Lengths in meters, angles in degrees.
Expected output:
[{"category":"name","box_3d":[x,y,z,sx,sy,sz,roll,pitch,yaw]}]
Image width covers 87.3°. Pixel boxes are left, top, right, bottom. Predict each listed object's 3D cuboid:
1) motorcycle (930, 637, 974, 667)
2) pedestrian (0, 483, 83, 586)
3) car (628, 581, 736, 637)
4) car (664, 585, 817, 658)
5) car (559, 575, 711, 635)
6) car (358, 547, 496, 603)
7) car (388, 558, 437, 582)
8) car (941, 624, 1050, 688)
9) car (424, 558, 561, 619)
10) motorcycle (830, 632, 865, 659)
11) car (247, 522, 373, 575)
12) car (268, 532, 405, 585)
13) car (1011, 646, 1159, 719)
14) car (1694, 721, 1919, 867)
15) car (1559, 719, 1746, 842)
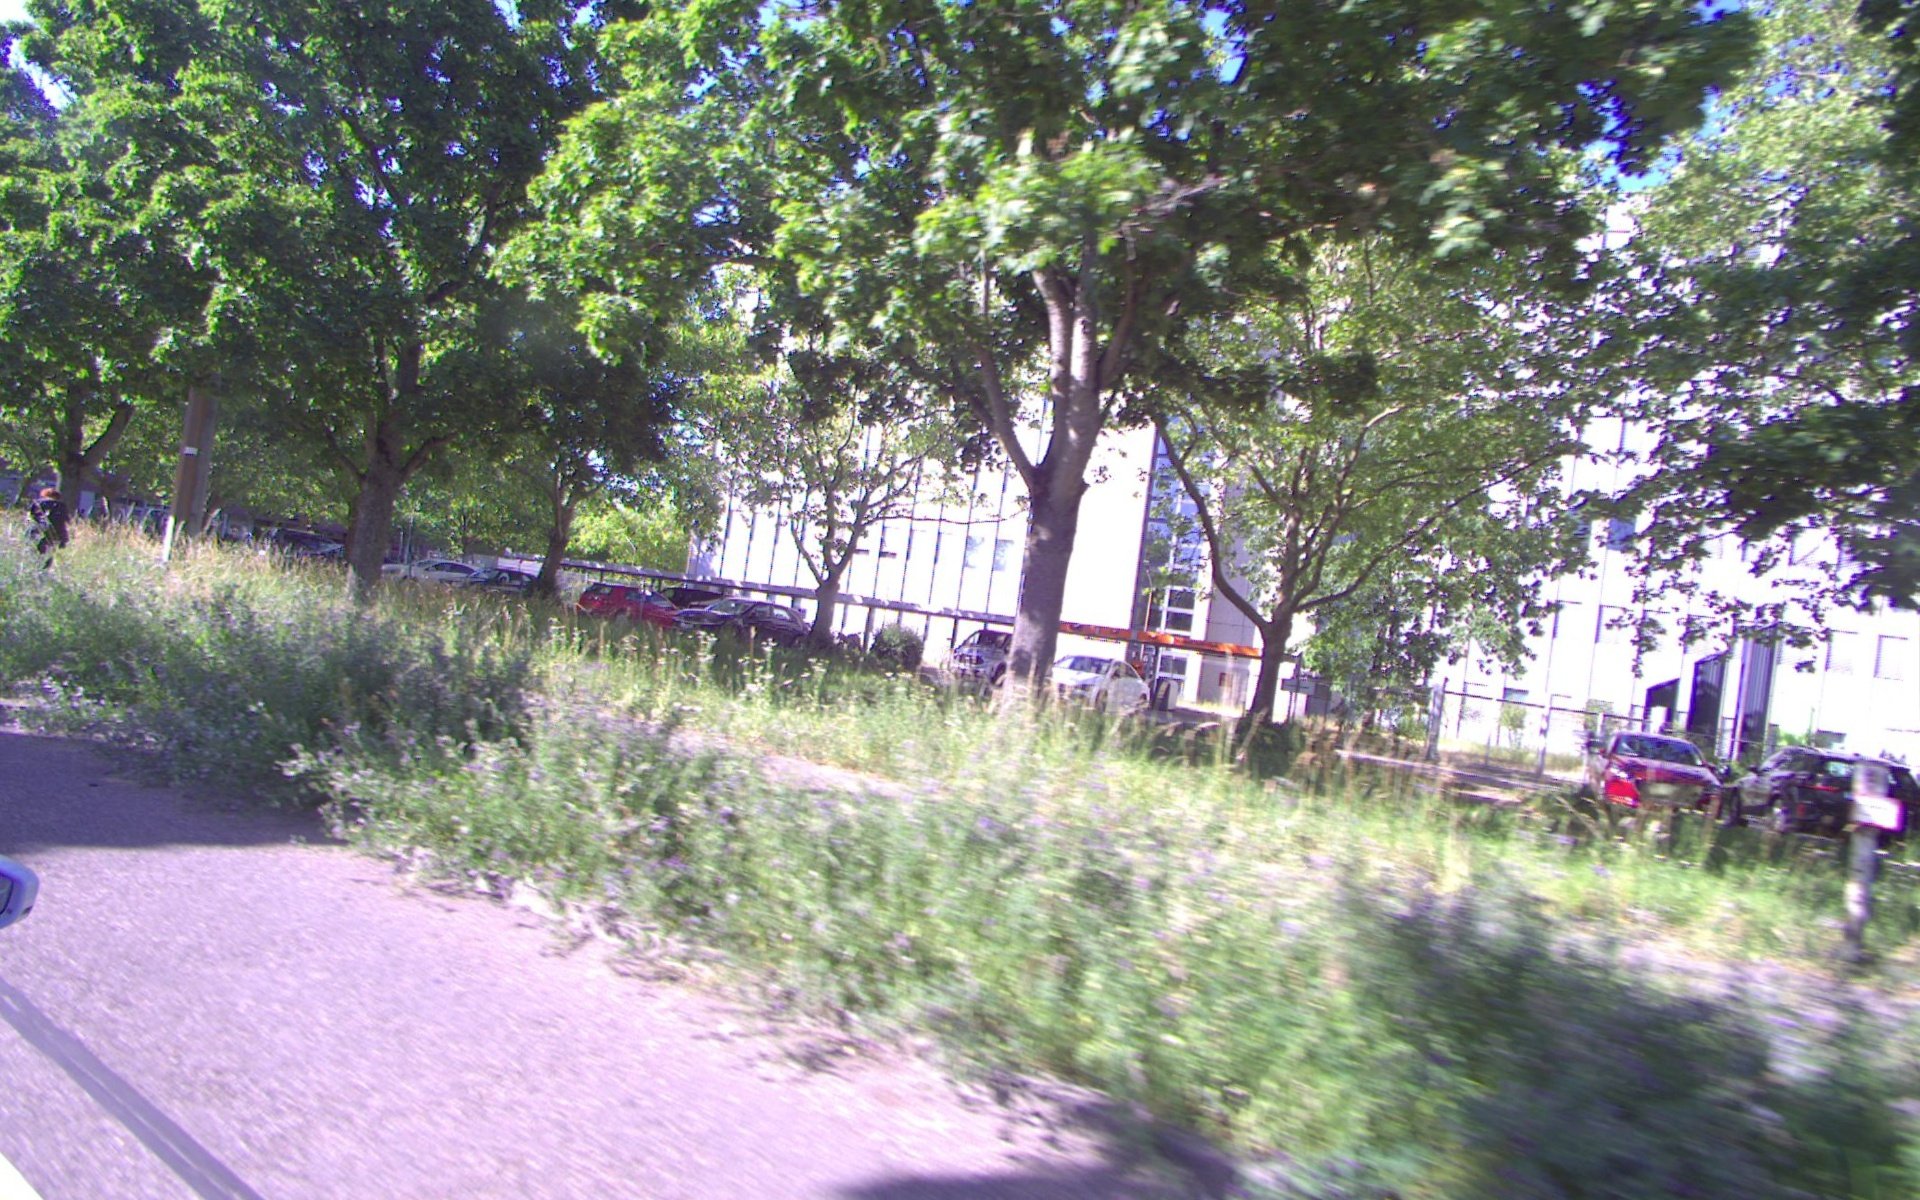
[{"category":"motorcycle","box_3d":[-0.417,2.815,53.787,0.998,1.336,3.044,7,-2,25]},{"category":"pedestrian","box_3d":[-15.670,-1.101,17.087,0.750,1.587,0.826,7,-2,32]},{"category":"car","box_3d":[-13.030,0.468,47.407,1.926,2.036,4.594,7,-2,32]},{"category":"car","box_3d":[-6.353,0.695,29.653,1.851,1.615,4.405,7,-2,28]},{"category":"car","box_3d":[-10.464,0.199,32.633,1.909,1.340,4.296,8,-1,35]},{"category":"car","box_3d":[-20.172,-0.920,38.255,1.795,1.447,4.173,7,-3,34]},{"category":"car","box_3d":[-56.371,-3.103,103.653,1.839,1.849,4.004,7,-3,22]},{"category":"car","box_3d":[1.446,2.190,38.572,1.941,1.972,4.760,8,-2,30]},{"category":"car","box_3d":[-16.261,-0.354,35.188,1.677,1.542,4.006,7,-2,28]},{"category":"motorcycle","box_3d":[-4.788,1.944,42.999,0.529,0.981,1.653,7,-2,30]},{"category":"car","box_3d":[-27.350,-2.155,42.456,1.709,1.522,4.038,7,-2,31]},{"category":"car","box_3d":[-25.519,-1.675,41.319,1.662,1.475,4.363,7,-2,34]},{"category":"car","box_3d":[3.088,1.971,23.790,1.776,1.286,4.709,8,-1,28]},{"category":"car","box_3d":[14.324,3.144,17.117,1.733,1.720,4.350,7,-1,22]},{"category":"car","box_3d":[12.449,3.159,18.392,1.733,1.554,4.246,7,-1,22]}]
